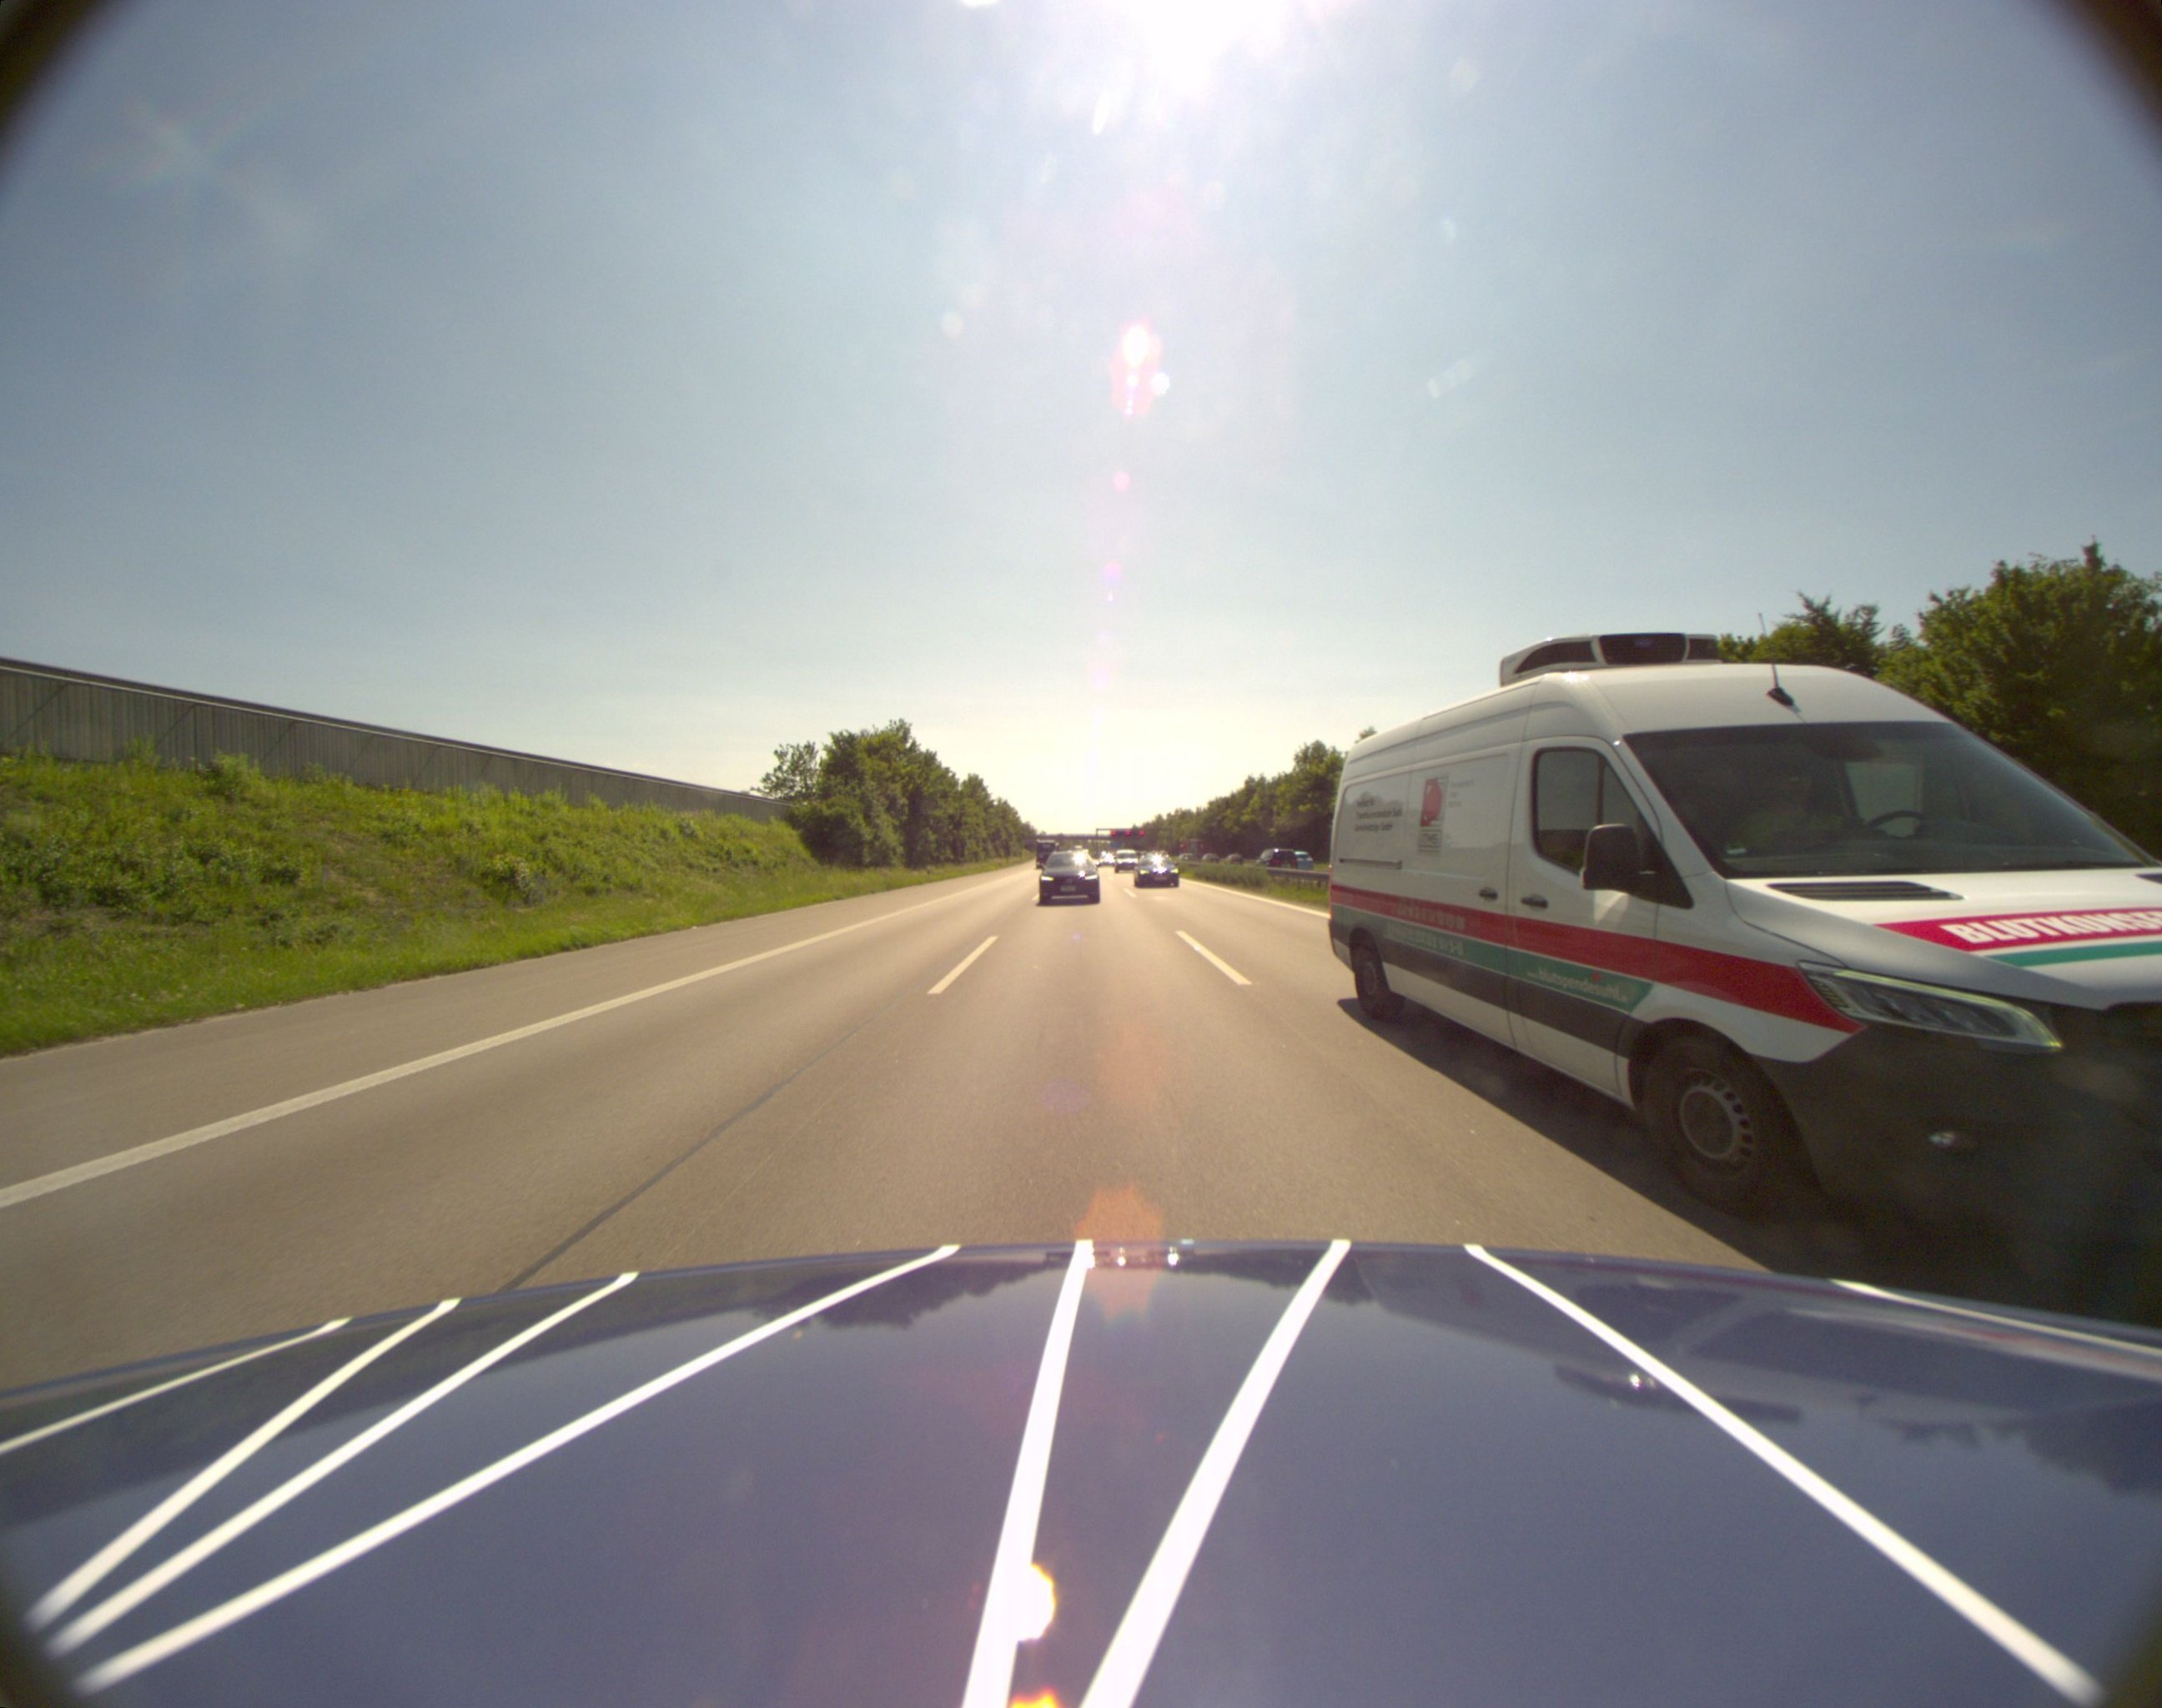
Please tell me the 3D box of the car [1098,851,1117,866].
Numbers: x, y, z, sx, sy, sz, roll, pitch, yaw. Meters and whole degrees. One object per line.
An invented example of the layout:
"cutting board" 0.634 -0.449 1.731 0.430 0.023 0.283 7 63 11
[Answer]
"car" 3.048 0.488 88.368 1.998 1.540 3.999 -1 1 0

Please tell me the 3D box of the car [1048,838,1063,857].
"car" -5.592 -1.415 166.911 3.203 3.997 8.124 0 1 -2

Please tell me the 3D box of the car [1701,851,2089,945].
"car" 15.246 0.700 14.856 1.998 1.501 5.207 -1 0 0

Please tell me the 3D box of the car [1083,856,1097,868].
"car" 1.288 1.050 104.183 1.742 1.630 3.844 0 1 3

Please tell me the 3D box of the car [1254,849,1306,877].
"car" 12.100 0.522 46.520 1.863 1.591 4.720 -1 0 -1

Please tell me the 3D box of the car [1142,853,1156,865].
"car" 10.673 0.734 118.741 1.821 1.892 4.000 -1 0 0

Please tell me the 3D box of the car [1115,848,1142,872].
"car" 3.717 0.457 60.425 1.870 1.713 3.979 -1 1 0

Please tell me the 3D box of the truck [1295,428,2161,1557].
"truck" 3.403 0.276 5.031 1.998 2.527 6.691 -2 0 0

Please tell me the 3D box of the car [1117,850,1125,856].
"car" 10.203 -0.171 195.600 1.959 1.474 4.345 0 0 1

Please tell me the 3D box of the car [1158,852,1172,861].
"car" 15.676 0.387 142.321 1.999 1.680 4.264 -1 0 -2

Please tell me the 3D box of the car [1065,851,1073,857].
"car" -3.281 0.042 212.889 1.998 1.765 4.236 -1 0 0

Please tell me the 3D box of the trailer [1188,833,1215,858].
"trailer" 18.747 -1.323 118.464 2.686 3.747 8.405 1 0 0

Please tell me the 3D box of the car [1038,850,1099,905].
"car" -0.421 0.708 25.292 1.812 1.648 3.999 -2 0 -1

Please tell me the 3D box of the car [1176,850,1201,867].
"car" 12.257 0.534 86.928 1.999 1.854 4.897 -1 0 -2

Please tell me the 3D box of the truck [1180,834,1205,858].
"truck" 18.659 -1.329 127.571 2.686 3.747 9.917 1 0 0

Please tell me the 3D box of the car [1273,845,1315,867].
"car" 15.506 0.155 55.456 1.799 1.501 4.349 -1 0 -1

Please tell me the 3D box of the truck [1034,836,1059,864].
"truck" -4.206 -0.506 93.444 2.966 3.388 8.045 0 1 -2

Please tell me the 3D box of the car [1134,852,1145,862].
"car" 10.943 0.610 142.952 1.821 1.892 4.000 -1 0 0

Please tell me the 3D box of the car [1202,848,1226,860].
"car" 15.818 0.032 90.473 1.900 1.332 4.763 2 0 -1

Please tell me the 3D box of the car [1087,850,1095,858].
"car" 2.433 -0.068 188.420 1.998 2.002 4.345 -1 0 0

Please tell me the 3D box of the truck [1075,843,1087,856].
"truck" 0.064 -1.339 230.858 3.243 3.684 10.932 0 1 -2

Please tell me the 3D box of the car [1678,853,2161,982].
"car" 11.697 0.727 11.194 1.879 1.431 5.018 -1 0 0

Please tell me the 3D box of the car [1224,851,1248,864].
"car" 19.292 0.425 94.984 1.900 1.430 4.923 2 0 -1

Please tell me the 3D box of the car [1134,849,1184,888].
"car" 3.492 0.619 34.733 1.904 1.616 4.240 -1 0 2

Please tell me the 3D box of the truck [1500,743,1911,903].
"truck" 19.838 -0.824 26.425 2.679 4.055 13.957 1 0 0
